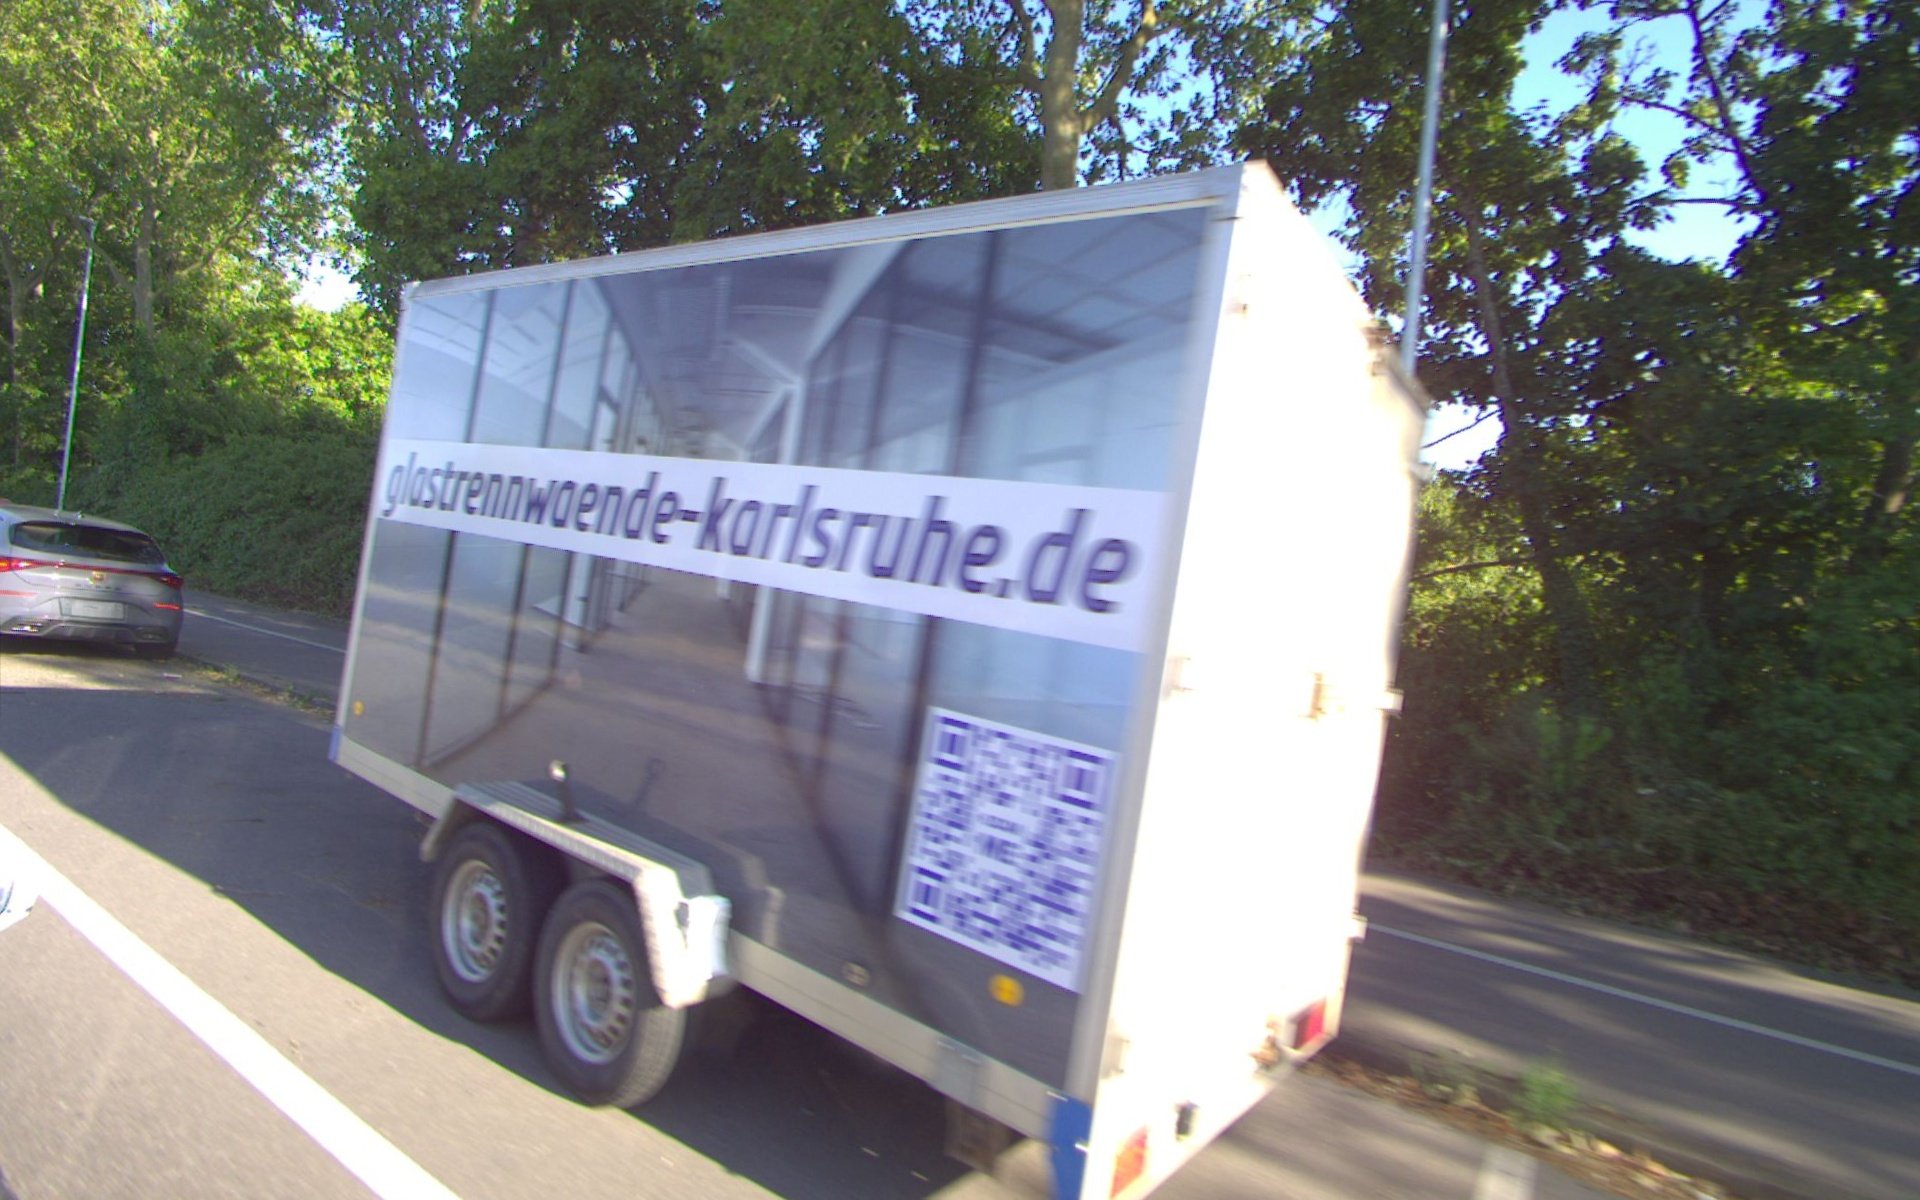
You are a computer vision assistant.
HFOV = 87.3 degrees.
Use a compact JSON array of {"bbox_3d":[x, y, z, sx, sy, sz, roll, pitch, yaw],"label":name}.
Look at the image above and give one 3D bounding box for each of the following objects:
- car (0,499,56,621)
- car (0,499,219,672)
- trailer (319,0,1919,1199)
[{"bbox_3d":[-14.337,-0.760,14.035,3.583,1.553,1.643,7,-3,35],"label":"car"},{"bbox_3d":[-10.032,-0.275,10.888,4.098,1.473,1.812,7,-3,33],"label":"car"},{"bbox_3d":[0.625,0.321,3.040,5.858,2.726,2.251,6,-1,38],"label":"trailer"}]
